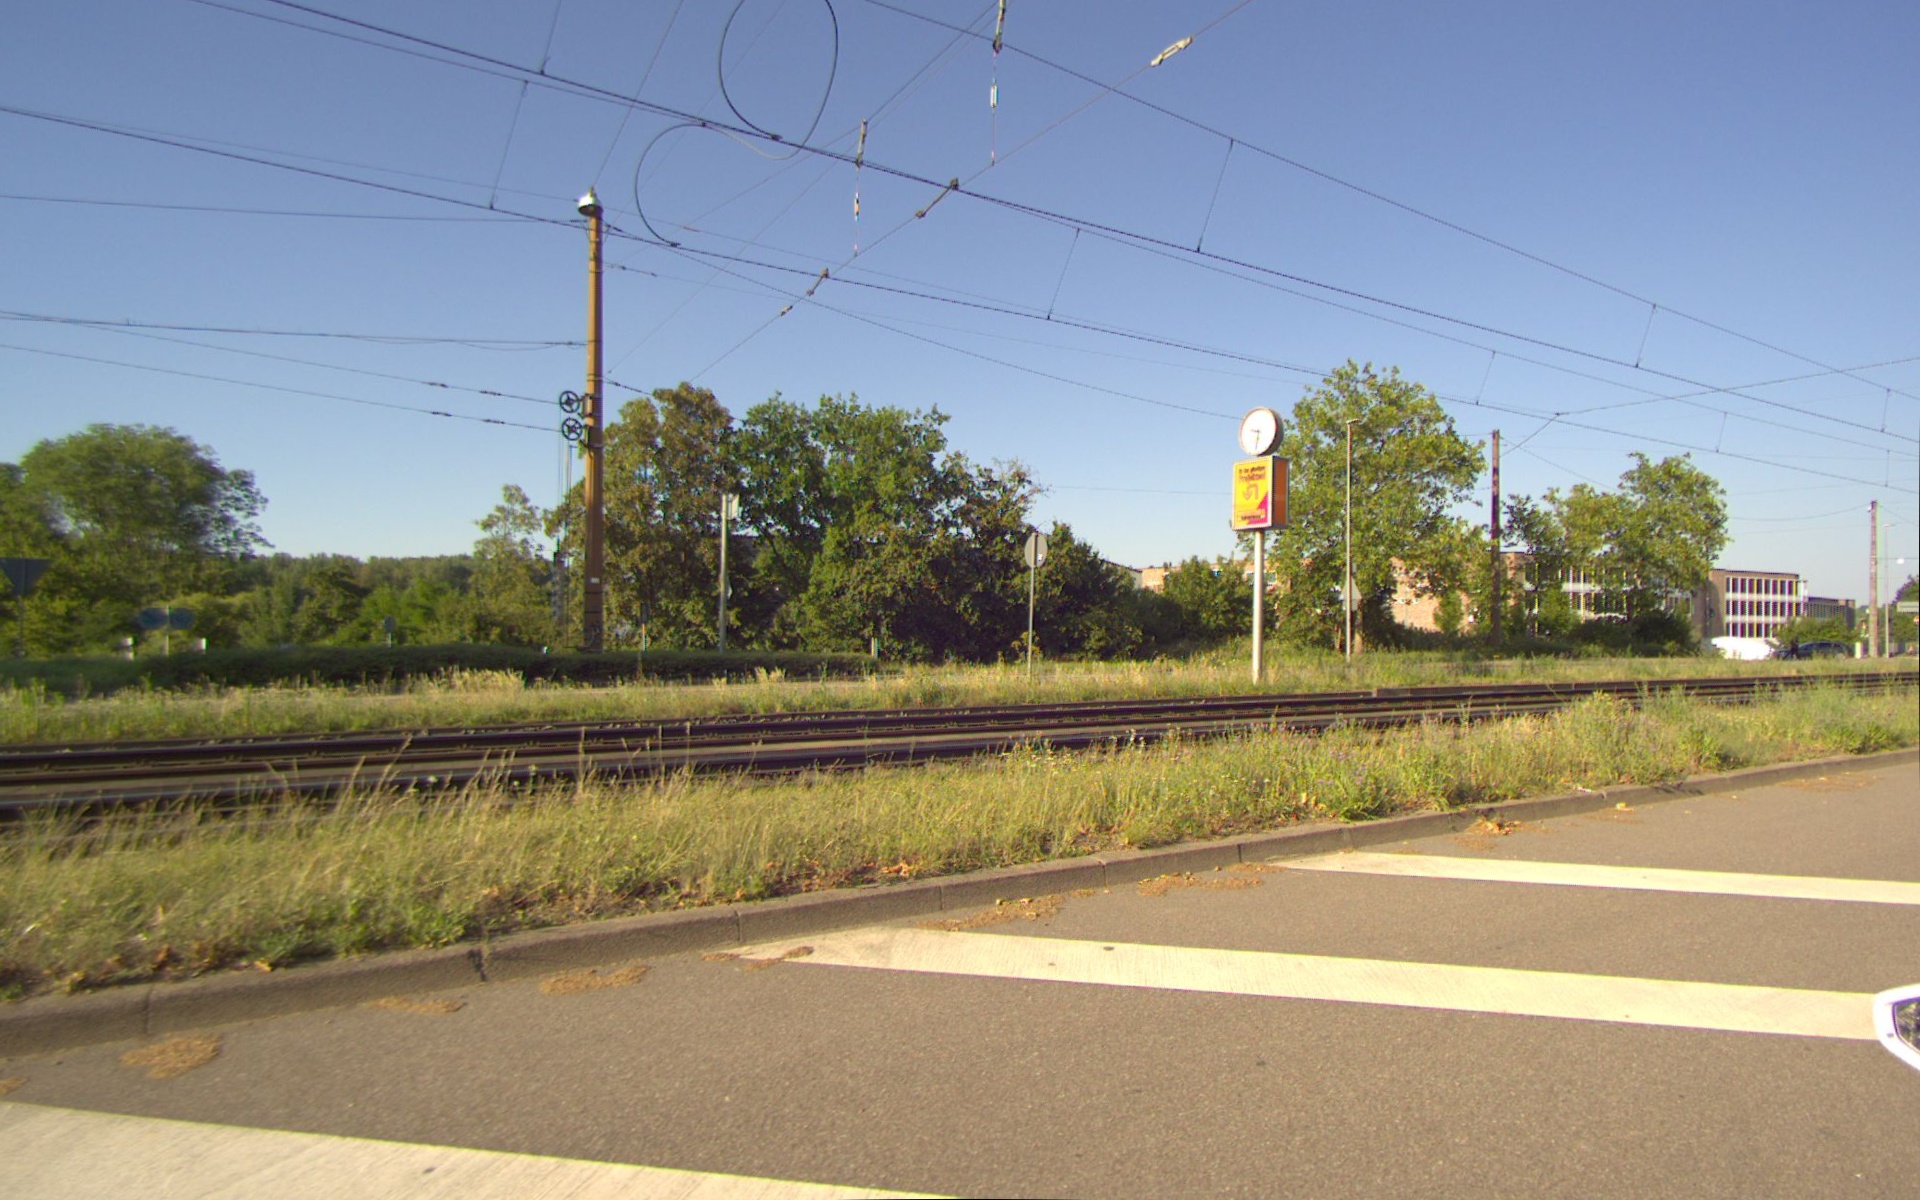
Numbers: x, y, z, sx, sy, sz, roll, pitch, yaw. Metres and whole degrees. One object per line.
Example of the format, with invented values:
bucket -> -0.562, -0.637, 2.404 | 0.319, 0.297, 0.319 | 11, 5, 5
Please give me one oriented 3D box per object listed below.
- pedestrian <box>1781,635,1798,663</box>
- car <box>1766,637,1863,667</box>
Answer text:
pedestrian -> 55.672, 3.289, 67.409 | 0.639, 1.845, 0.541 | 1, 0, -8
car -> 61.362, 3.723, 72.246 | 5.050, 1.839, 1.943 | 1, 0, 33
